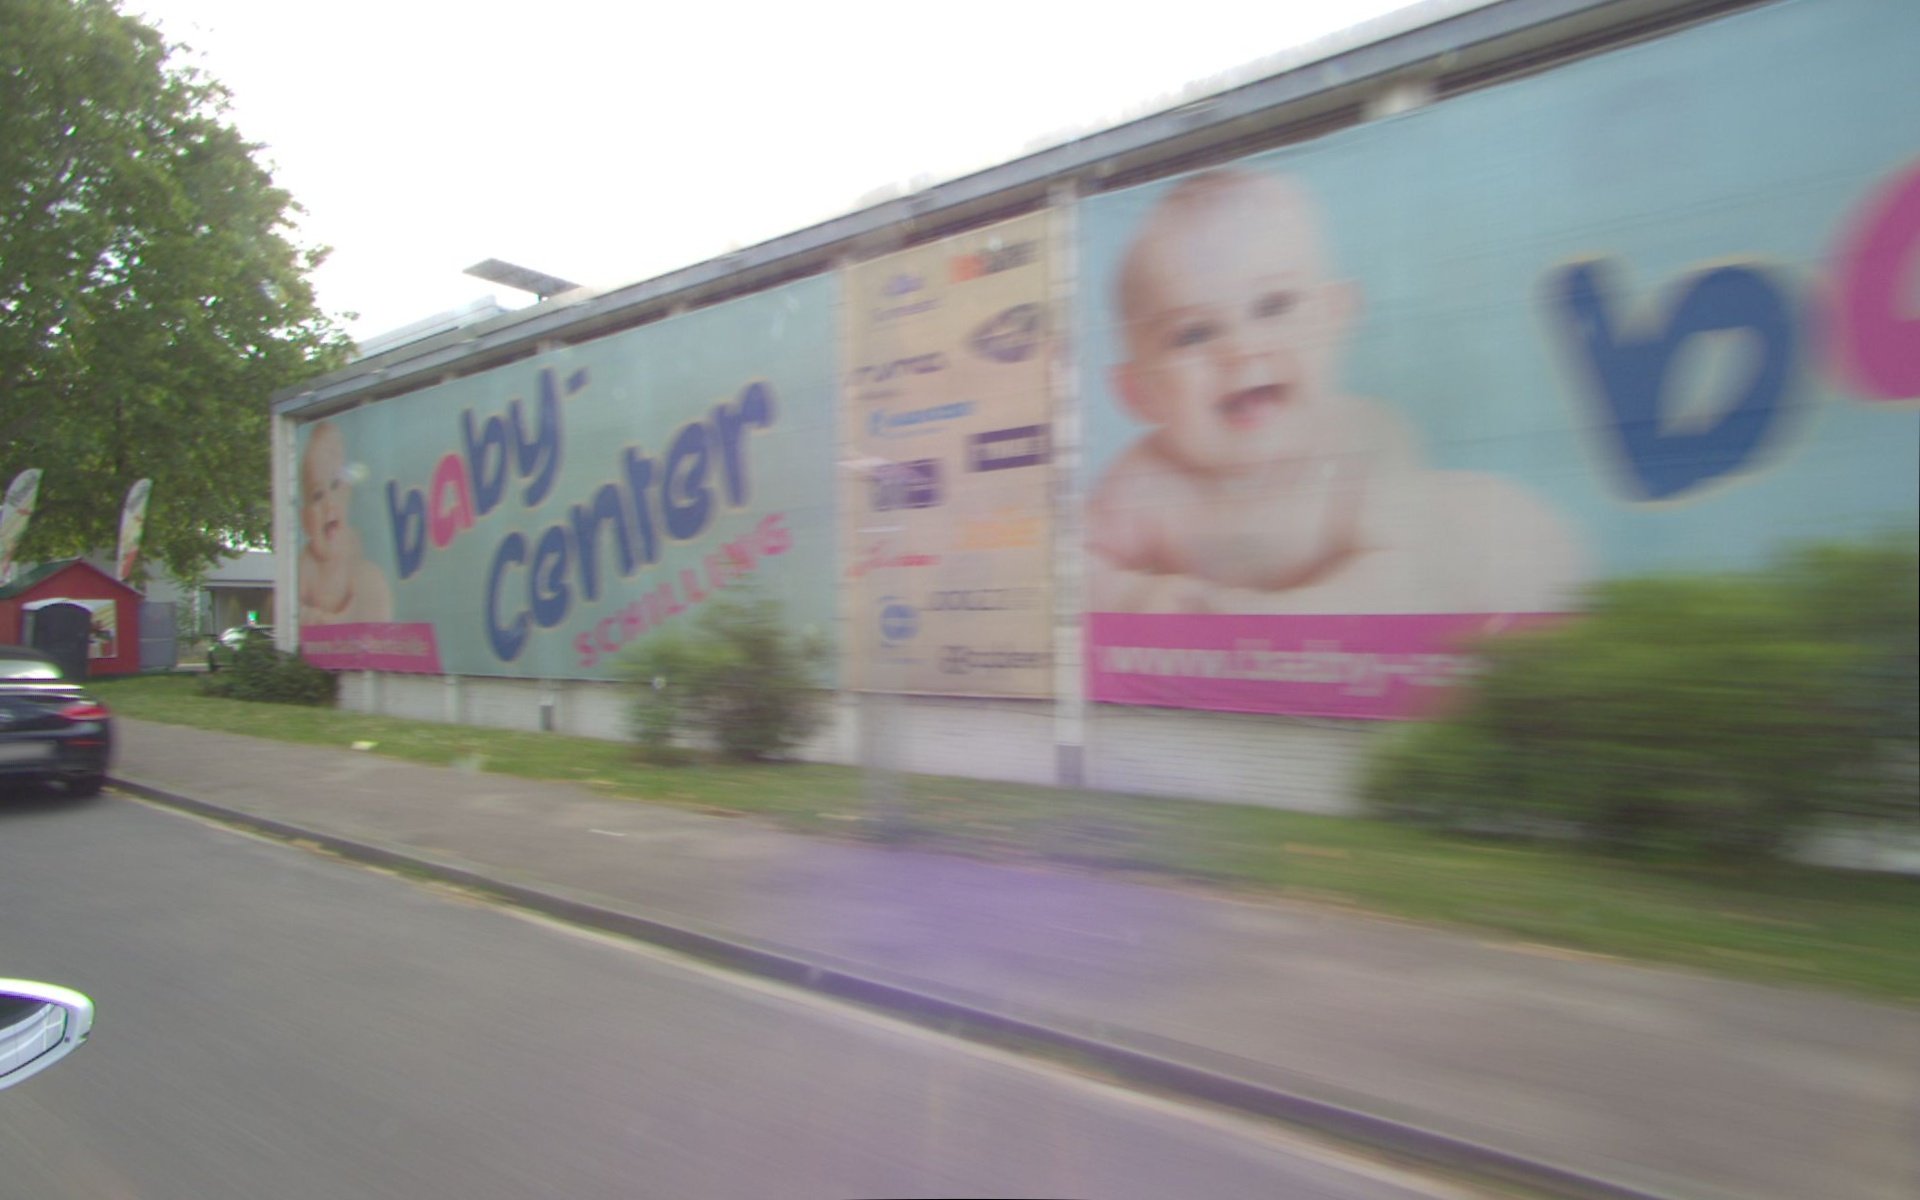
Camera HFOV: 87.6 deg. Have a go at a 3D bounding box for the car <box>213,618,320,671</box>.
[{"bbox_3d":[-21.512,1.339,31.013,3.952,1.531,1.732,-1,-1,39],"label":"car"}]

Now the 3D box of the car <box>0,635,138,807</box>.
[{"bbox_3d":[-9.752,1.037,9.639,4.529,1.408,1.803,-1,-4,37],"label":"car"}]

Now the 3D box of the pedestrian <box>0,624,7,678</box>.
[{"bbox_3d":[-24.358,1.266,24.829,0.954,1.331,1.008,-1,-1,44],"label":"pedestrian"}]
